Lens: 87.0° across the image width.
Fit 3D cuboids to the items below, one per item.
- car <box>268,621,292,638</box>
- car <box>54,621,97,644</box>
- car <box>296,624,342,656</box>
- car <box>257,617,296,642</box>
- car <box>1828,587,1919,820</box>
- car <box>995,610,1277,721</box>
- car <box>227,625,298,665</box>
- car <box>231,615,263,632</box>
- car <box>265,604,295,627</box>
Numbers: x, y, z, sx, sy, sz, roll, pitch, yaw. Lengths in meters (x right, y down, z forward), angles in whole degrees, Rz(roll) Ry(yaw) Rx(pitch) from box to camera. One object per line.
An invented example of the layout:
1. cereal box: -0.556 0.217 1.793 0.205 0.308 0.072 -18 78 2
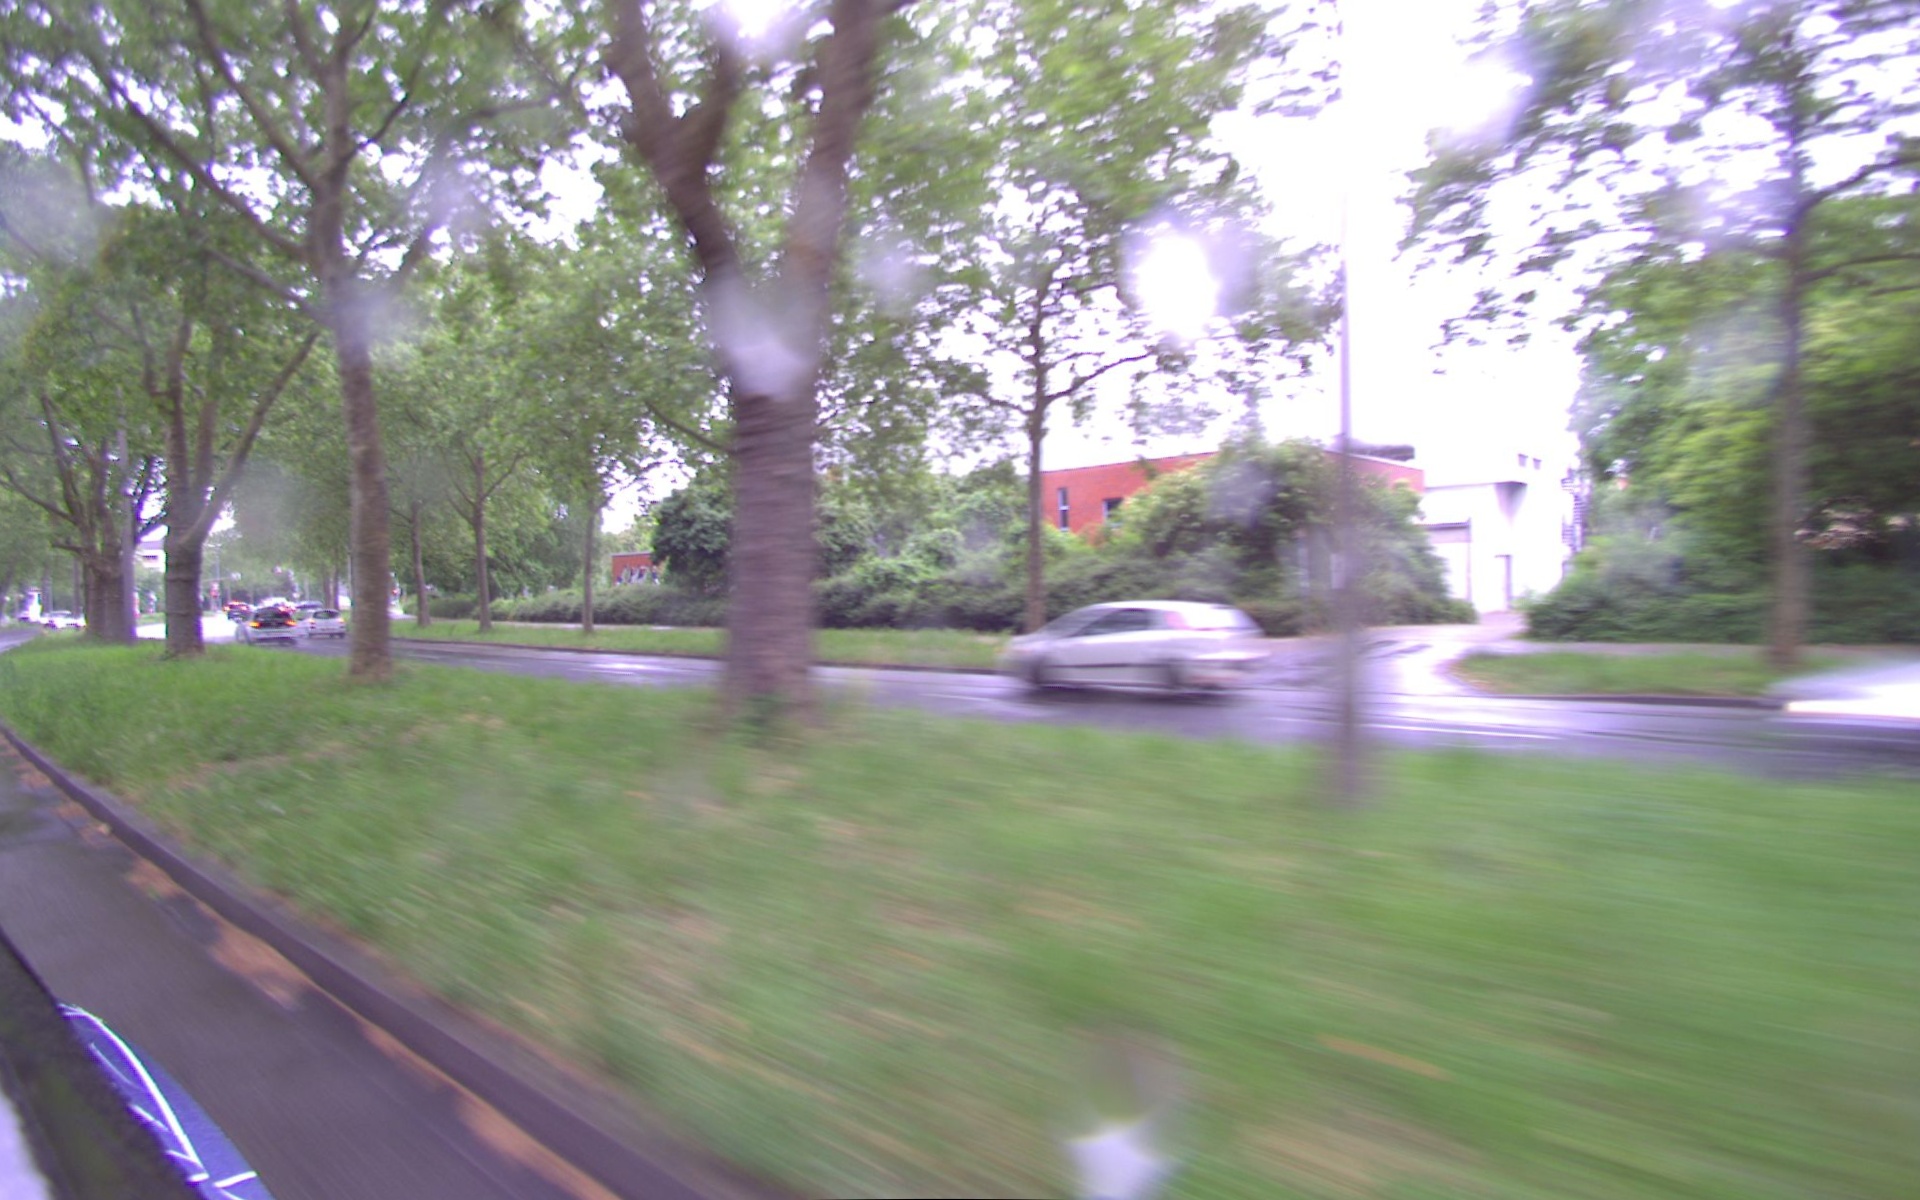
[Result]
1. car: -75.579 3.230 112.540 1.966 1.643 4.344 -3 1 -31
2. car: -69.186 2.522 79.183 1.967 1.641 4.533 -3 1 -35
3. car: -32.519 1.990 51.303 1.720 1.470 3.851 -2 1 -35
4. car: -48.353 2.082 71.685 1.719 1.573 4.382 -2 1 -27
5. car: 8.656 0.686 6.667 4.323 1.603 1.727 -1 1 38
6. car: 2.696 0.955 16.027 4.079 1.487 1.726 -1 1 40
7. car: -29.476 1.857 42.716 1.723 1.487 4.413 -2 1 -44
8. car: -76.924 2.505 109.174 2.001 1.749 4.971 -2 1 -26
9. car: -70.741 1.623 105.291 2.002 2.243 5.451 -2 1 -29
